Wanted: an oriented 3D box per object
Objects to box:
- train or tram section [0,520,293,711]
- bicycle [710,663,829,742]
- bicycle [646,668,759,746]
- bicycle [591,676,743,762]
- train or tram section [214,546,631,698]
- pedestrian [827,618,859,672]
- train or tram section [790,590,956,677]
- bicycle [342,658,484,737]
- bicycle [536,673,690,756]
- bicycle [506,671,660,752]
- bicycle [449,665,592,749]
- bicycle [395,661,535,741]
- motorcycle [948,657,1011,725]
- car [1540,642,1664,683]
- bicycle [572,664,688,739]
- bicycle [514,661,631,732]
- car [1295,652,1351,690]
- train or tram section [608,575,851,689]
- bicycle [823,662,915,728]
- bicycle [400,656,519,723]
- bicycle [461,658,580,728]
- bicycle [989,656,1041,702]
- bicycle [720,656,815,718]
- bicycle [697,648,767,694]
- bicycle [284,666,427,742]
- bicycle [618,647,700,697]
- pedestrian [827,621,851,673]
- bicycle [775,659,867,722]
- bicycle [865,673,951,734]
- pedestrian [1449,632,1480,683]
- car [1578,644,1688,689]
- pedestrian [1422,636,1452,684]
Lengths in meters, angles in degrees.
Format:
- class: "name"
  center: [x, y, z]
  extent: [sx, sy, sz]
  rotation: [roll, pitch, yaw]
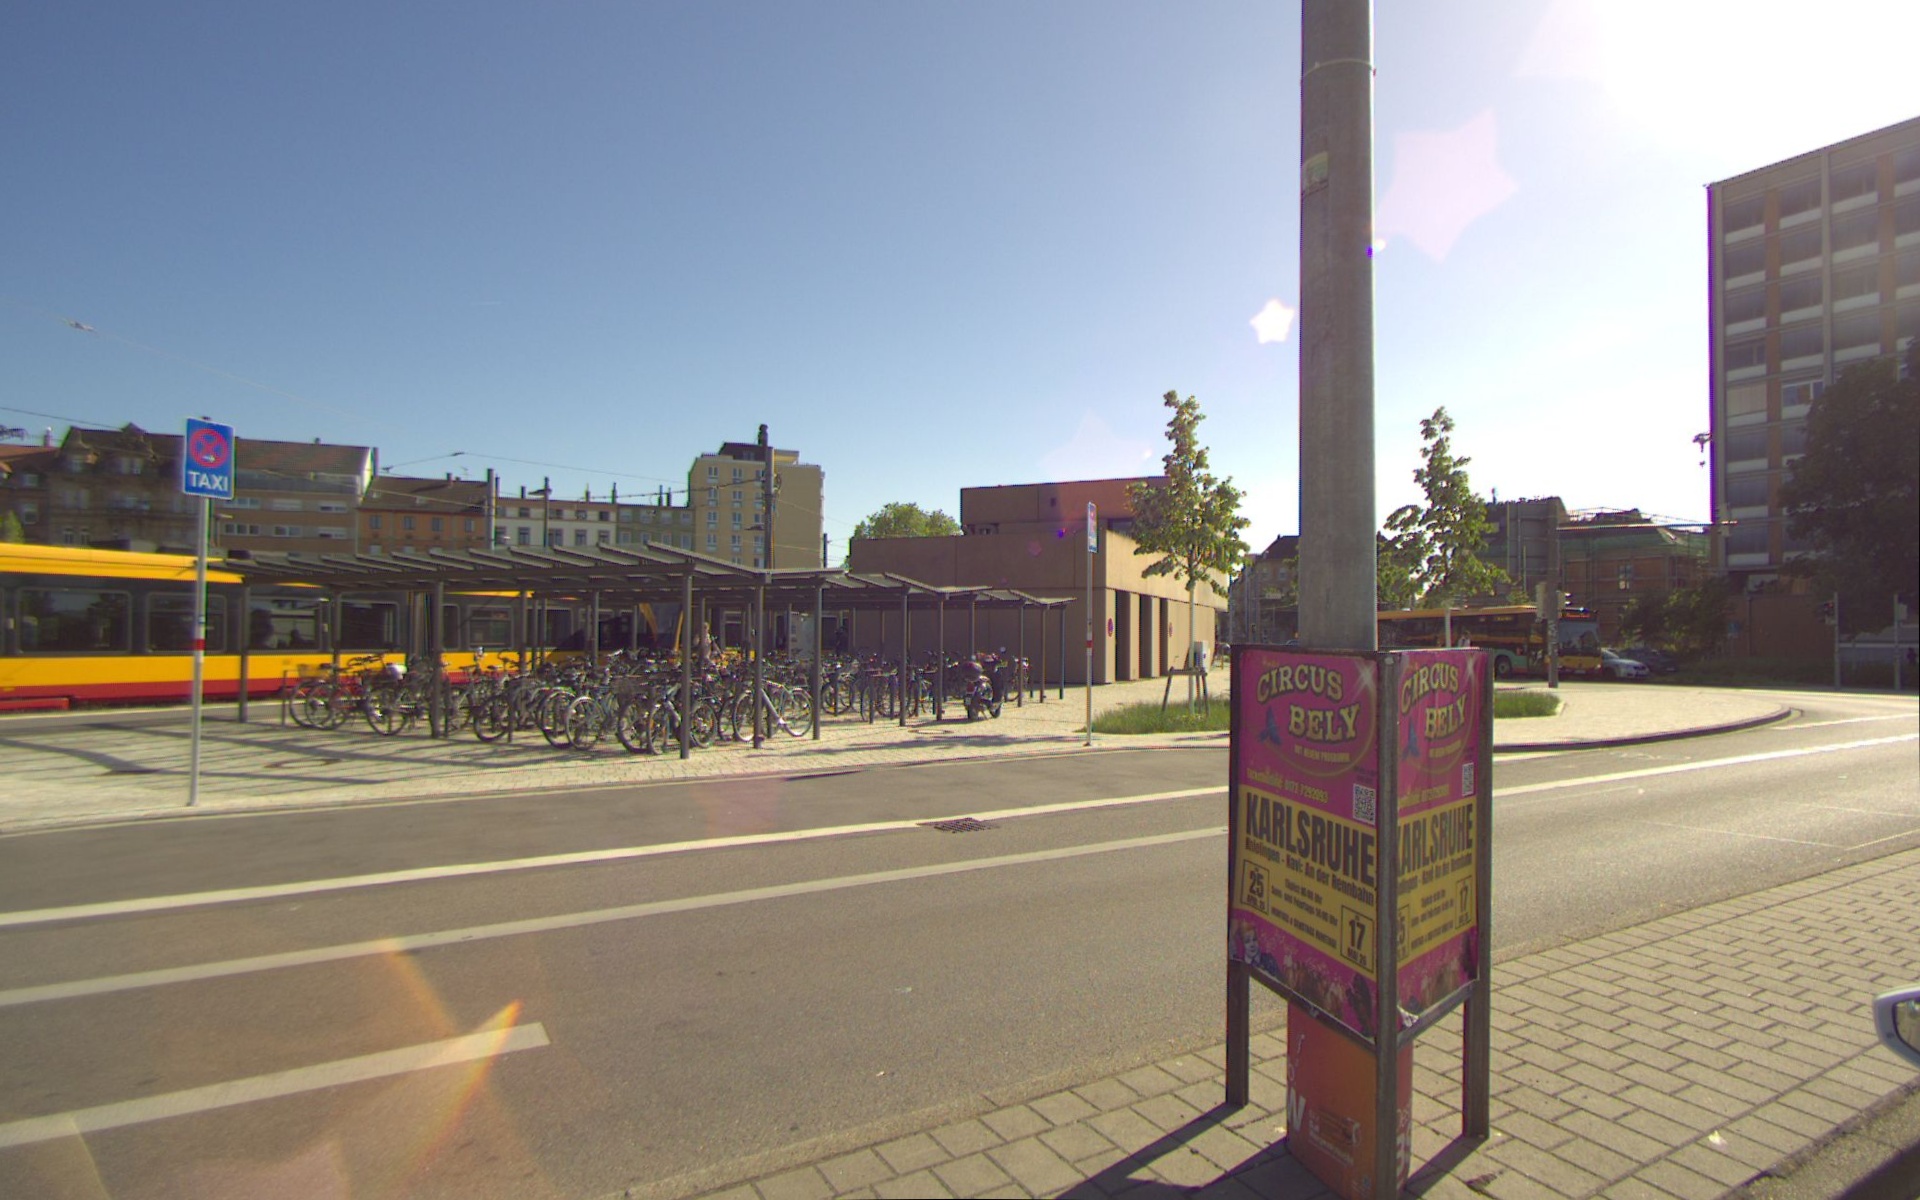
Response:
- class: "train or tram section"
  center: [-19.150, 0.279, 19.293]
  extent: [2.772, 3.554, 10.605]
  rotation: [1, -2, 25]
- class: "bicycle"
  center: [-2.779, 1.478, 14.889]
  extent: [0.572, 1.065, 1.970]
  rotation: [1, -3, 29]
- class: "bicycle"
  center: [-3.897, 1.596, 15.359]
  extent: [0.571, 1.072, 1.814]
  rotation: [1, -2, 27]
- class: "bicycle"
  center: [-3.746, 1.508, 13.060]
  extent: [0.572, 0.973, 2.056]
  rotation: [1, -3, 29]
- class: "train or tram section"
  center: [-14.652, 0.698, 29.162]
  extent: [2.772, 3.554, 11.203]
  rotation: [1, -2, 25]
- class: "pedestrian"
  center: [-4.217, 1.636, 36.245]
  extent: [0.833, 1.908, 0.760]
  rotation: [1, -2, 23]
- class: "train or tram section"
  center: [-3.645, 1.547, 46.149]
  extent: [2.825, 3.554, 10.538]
  rotation: [0, -2, 24]
- class: "bicycle"
  center: [-8.123, 1.419, 15.007]
  extent: [0.571, 1.072, 1.814]
  rotation: [1, -2, 27]
- class: "bicycle"
  center: [-4.574, 1.491, 13.419]
  extent: [0.572, 0.973, 2.056]
  rotation: [1, -3, 29]
- class: "bicycle"
  center: [-5.099, 1.483, 13.730]
  extent: [0.572, 0.973, 2.056]
  rotation: [1, -3, 29]
- class: "bicycle"
  center: [-6.110, 1.458, 14.065]
  extent: [0.572, 1.072, 1.814]
  rotation: [1, -3, 29]
- class: "bicycle"
  center: [-7.193, 1.442, 14.687]
  extent: [0.571, 1.072, 1.814]
  rotation: [1, -2, 27]
- class: "motorcycle"
  center: [0.398, 1.697, 19.111]
  extent: [0.542, 1.192, 1.922]
  rotation: [1, -2, 21]
- class: "car"
  center: [27.609, 2.662, 43.368]
  extent: [1.936, 1.541, 4.401]
  rotation: [3, -2, -13]
- class: "bicycle"
  center: [-5.150, 1.565, 15.786]
  extent: [0.571, 1.072, 1.814]
  rotation: [1, -2, 27]
- class: "bicycle"
  center: [-6.291, 1.547, 16.411]
  extent: [0.571, 1.072, 1.814]
  rotation: [1, -2, 27]
- class: "car"
  center: [21.634, 4.203, 60.091]
  extent: [1.971, 2.040, 4.002]
  rotation: [2, -2, 2]
- class: "train or tram section"
  center: [-7.858, 1.183, 36.561]
  extent: [2.825, 3.554, 10.538]
  rotation: [0, -2, 24]
- class: "bicycle"
  center: [-1.615, 1.688, 18.248]
  extent: [0.572, 1.102, 2.056]
  rotation: [1, -3, 29]
- class: "bicycle"
  center: [-8.632, 1.521, 17.395]
  extent: [0.571, 1.072, 1.814]
  rotation: [1, -2, 27]
- class: "bicycle"
  center: [-7.277, 1.522, 16.720]
  extent: [0.571, 1.072, 1.814]
  rotation: [1, -2, 27]
- class: "bicycle"
  center: [1.396, 1.970, 25.281]
  extent: [0.571, 1.102, 1.870]
  rotation: [1, -2, 27]
- class: "bicycle"
  center: [-3.692, 1.657, 19.439]
  extent: [0.572, 1.102, 2.056]
  rotation: [1, -3, 29]
- class: "bicycle"
  center: [-5.908, 1.831, 26.115]
  extent: [0.557, 1.107, 2.027]
  rotation: [1, -3, 27]
- class: "bicycle"
  center: [-9.284, 1.568, 15.503]
  extent: [0.571, 1.072, 1.814]
  rotation: [1, -2, 27]
- class: "bicycle"
  center: [-7.047, 1.684, 23.603]
  extent: [0.557, 1.107, 2.027]
  rotation: [1, -3, 27]
- class: "pedestrian"
  center: [-4.576, 1.783, 38.024]
  extent: [0.747, 1.908, 0.848]
  rotation: [3, -2, -12]
- class: "bicycle"
  center: [-2.589, 1.679, 18.941]
  extent: [0.572, 1.102, 2.056]
  rotation: [1, -3, 29]
- class: "bicycle"
  center: [-0.901, 1.817, 17.936]
  extent: [0.571, 0.973, 2.057]
  rotation: [1, -3, 26]
- class: "pedestrian"
  center: [18.067, 2.052, 35.979]
  extent: [0.775, 1.764, 0.625]
  rotation: [3, -2, -14]
- class: "car"
  center: [34.278, 3.358, 51.318]
  extent: [1.970, 2.040, 4.366]
  rotation: [3, -2, -20]
- class: "pedestrian"
  center: [18.195, 2.286, 38.320]
  extent: [0.775, 1.764, 0.654]
  rotation: [3, -2, -14]
